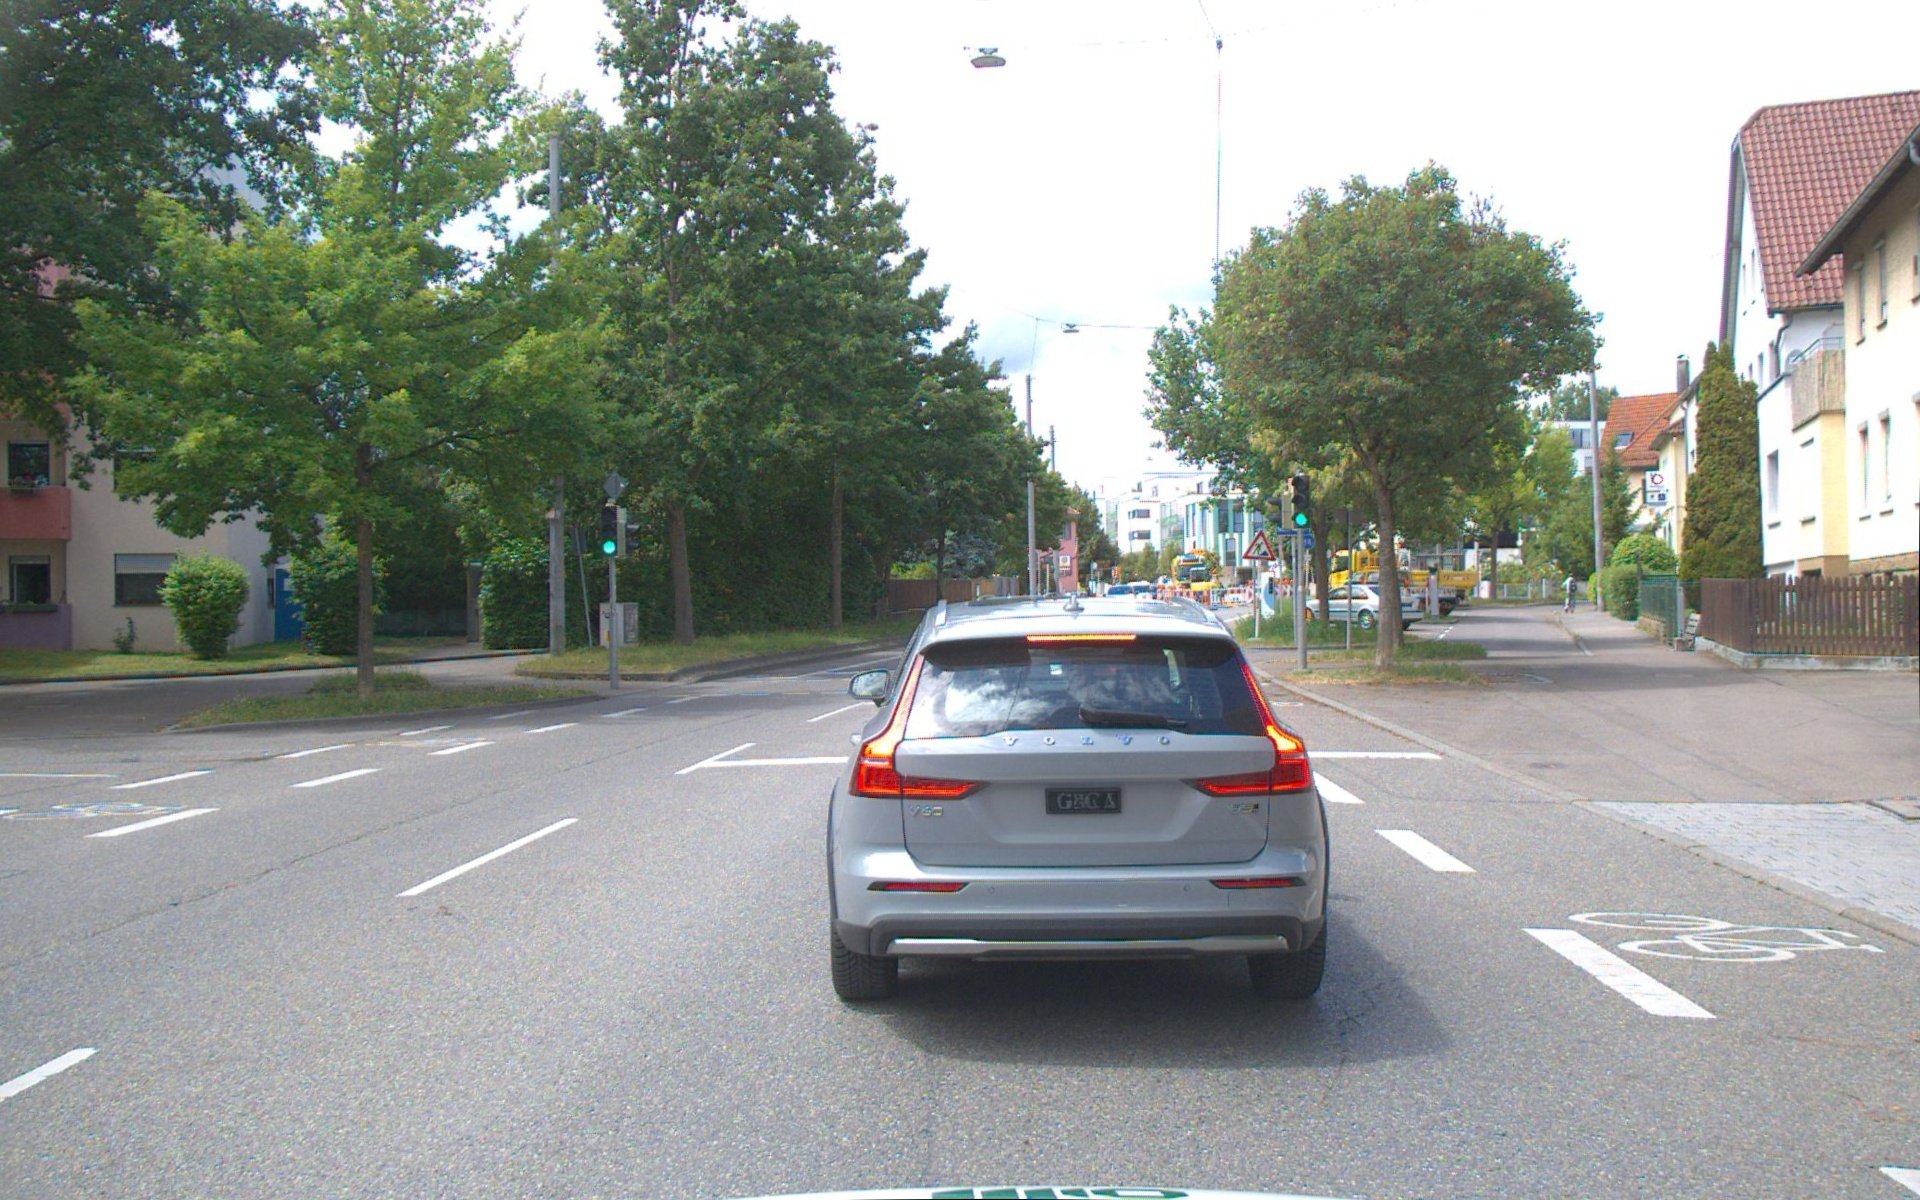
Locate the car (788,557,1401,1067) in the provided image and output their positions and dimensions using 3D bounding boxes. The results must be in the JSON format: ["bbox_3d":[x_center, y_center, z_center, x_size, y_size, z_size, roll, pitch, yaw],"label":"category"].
[{"bbox_3d":[0.493,0.650,7.169,1.888,1.567,4.001,-1,0,2],"label":"car"}]

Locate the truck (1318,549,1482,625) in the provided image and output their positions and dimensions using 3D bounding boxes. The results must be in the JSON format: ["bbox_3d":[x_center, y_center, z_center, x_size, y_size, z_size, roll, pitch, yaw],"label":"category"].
[{"bbox_3d":[18.760,-0.549,70.907,2.737,3.061,6.626,2,-1,-34],"label":"truck"}]

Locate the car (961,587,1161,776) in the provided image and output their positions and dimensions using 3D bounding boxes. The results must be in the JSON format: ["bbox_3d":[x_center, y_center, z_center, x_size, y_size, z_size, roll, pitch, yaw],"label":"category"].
[{"bbox_3d":[0.911,0.695,15.699,1.627,1.534,3.703,2,0,2],"label":"car"}]

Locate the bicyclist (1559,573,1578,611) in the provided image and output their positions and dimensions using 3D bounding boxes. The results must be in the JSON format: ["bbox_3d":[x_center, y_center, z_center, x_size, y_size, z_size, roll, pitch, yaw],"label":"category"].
[{"bbox_3d":[25.897,-0.345,70.440,0.577,1.586,0.566,1,-1,-2],"label":"bicyclist"}]

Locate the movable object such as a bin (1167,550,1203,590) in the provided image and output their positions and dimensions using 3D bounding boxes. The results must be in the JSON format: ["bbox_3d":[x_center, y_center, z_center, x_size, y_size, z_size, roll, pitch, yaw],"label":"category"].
[{"bbox_3d":[18.033,-2.349,132.674,2.262,3.042,6.429,-2,0,3],"label":"movable object such as a bin"}]

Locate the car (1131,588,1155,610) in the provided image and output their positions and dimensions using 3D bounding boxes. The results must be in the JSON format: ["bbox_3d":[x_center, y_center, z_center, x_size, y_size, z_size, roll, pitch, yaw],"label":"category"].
[{"bbox_3d":[15.524,-0.071,140.701,1.951,1.768,4.002,1,-1,5],"label":"car"}]

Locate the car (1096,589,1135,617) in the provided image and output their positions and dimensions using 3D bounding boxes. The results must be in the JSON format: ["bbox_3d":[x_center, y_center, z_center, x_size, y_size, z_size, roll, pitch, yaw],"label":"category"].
[{"bbox_3d":[8.300,0.167,87.872,1.789,1.353,4.003,1,-2,9],"label":"car"}]

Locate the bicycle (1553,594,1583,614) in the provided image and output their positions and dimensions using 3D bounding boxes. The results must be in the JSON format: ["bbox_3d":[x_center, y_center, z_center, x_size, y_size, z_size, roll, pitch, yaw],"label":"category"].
[{"bbox_3d":[25.886,0.156,70.446,0.582,0.826,1.753,1,0,-1],"label":"bicycle"}]

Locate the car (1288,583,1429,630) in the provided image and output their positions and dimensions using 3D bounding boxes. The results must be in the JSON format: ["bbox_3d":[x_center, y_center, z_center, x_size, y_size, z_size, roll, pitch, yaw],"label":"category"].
[{"bbox_3d":[13.048,0.177,54.378,1.745,1.477,4.638,-1,1,-32],"label":"car"}]

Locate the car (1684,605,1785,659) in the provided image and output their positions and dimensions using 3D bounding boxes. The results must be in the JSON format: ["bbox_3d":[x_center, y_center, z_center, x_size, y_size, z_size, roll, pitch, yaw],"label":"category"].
[{"bbox_3d":[17.468,0.710,37.434,1.431,1.144,3.874,1,-1,15],"label":"car"}]

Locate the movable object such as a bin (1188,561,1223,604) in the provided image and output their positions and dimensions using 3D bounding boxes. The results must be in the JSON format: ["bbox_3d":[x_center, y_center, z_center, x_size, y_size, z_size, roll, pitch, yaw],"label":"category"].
[{"bbox_3d":[16.287,-1.140,109.396,1.991,2.689,5.945,-2,0,11],"label":"movable object such as a bin"}]

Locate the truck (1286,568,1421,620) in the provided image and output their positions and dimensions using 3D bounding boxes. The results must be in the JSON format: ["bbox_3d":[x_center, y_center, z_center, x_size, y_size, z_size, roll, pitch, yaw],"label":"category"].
[{"bbox_3d":[16.368,-0.241,69.053,1.977,2.049,5.607,2,-1,-35],"label":"truck"}]

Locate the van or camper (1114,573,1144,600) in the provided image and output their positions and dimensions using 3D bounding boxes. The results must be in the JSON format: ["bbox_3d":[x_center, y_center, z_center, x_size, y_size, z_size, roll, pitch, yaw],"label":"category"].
[{"bbox_3d":[11.804,-0.934,115.379,1.821,1.807,4.384,-1,0,9],"label":"van or camper"}]

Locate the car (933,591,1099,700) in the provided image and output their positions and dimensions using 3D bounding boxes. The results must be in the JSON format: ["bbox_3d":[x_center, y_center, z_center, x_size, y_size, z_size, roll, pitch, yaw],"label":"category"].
[{"bbox_3d":[0.971,0.681,26.039,2.057,1.536,4.003,1,-1,10],"label":"car"}]
